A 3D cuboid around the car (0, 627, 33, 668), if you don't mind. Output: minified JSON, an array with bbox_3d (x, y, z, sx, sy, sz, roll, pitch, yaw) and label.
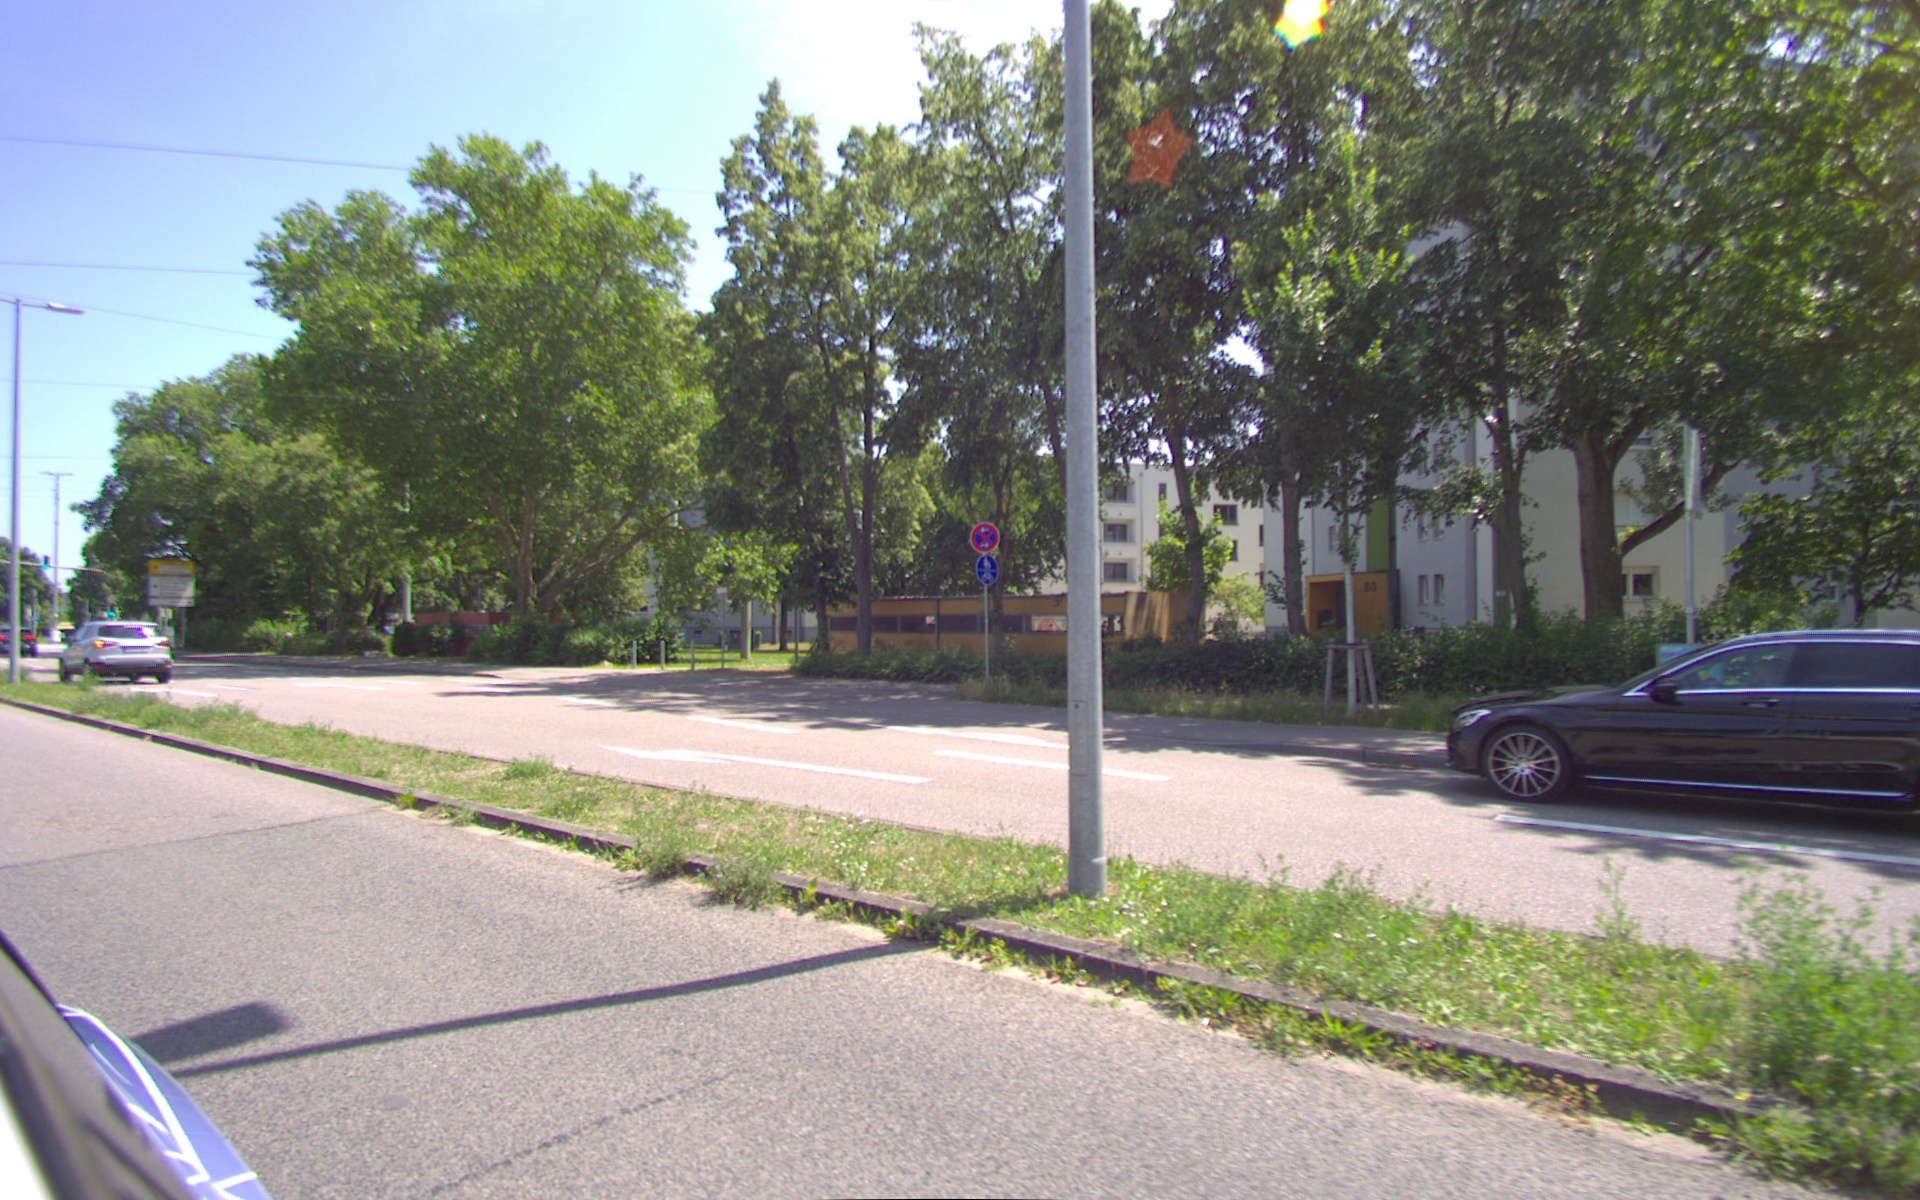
[{"bbox_3d":[-49.121,2.406,51.779,3.996,2.029,1.973,-2,-3,40],"label":"car"}]

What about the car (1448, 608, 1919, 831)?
[{"bbox_3d":[6.600,0.879,8.030,4.633,1.520,1.722,-2,-4,41],"label":"car"}]

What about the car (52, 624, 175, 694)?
[{"bbox_3d":[-22.480,1.494,26.846,3.996,1.652,1.793,-1,0,39],"label":"car"}]
